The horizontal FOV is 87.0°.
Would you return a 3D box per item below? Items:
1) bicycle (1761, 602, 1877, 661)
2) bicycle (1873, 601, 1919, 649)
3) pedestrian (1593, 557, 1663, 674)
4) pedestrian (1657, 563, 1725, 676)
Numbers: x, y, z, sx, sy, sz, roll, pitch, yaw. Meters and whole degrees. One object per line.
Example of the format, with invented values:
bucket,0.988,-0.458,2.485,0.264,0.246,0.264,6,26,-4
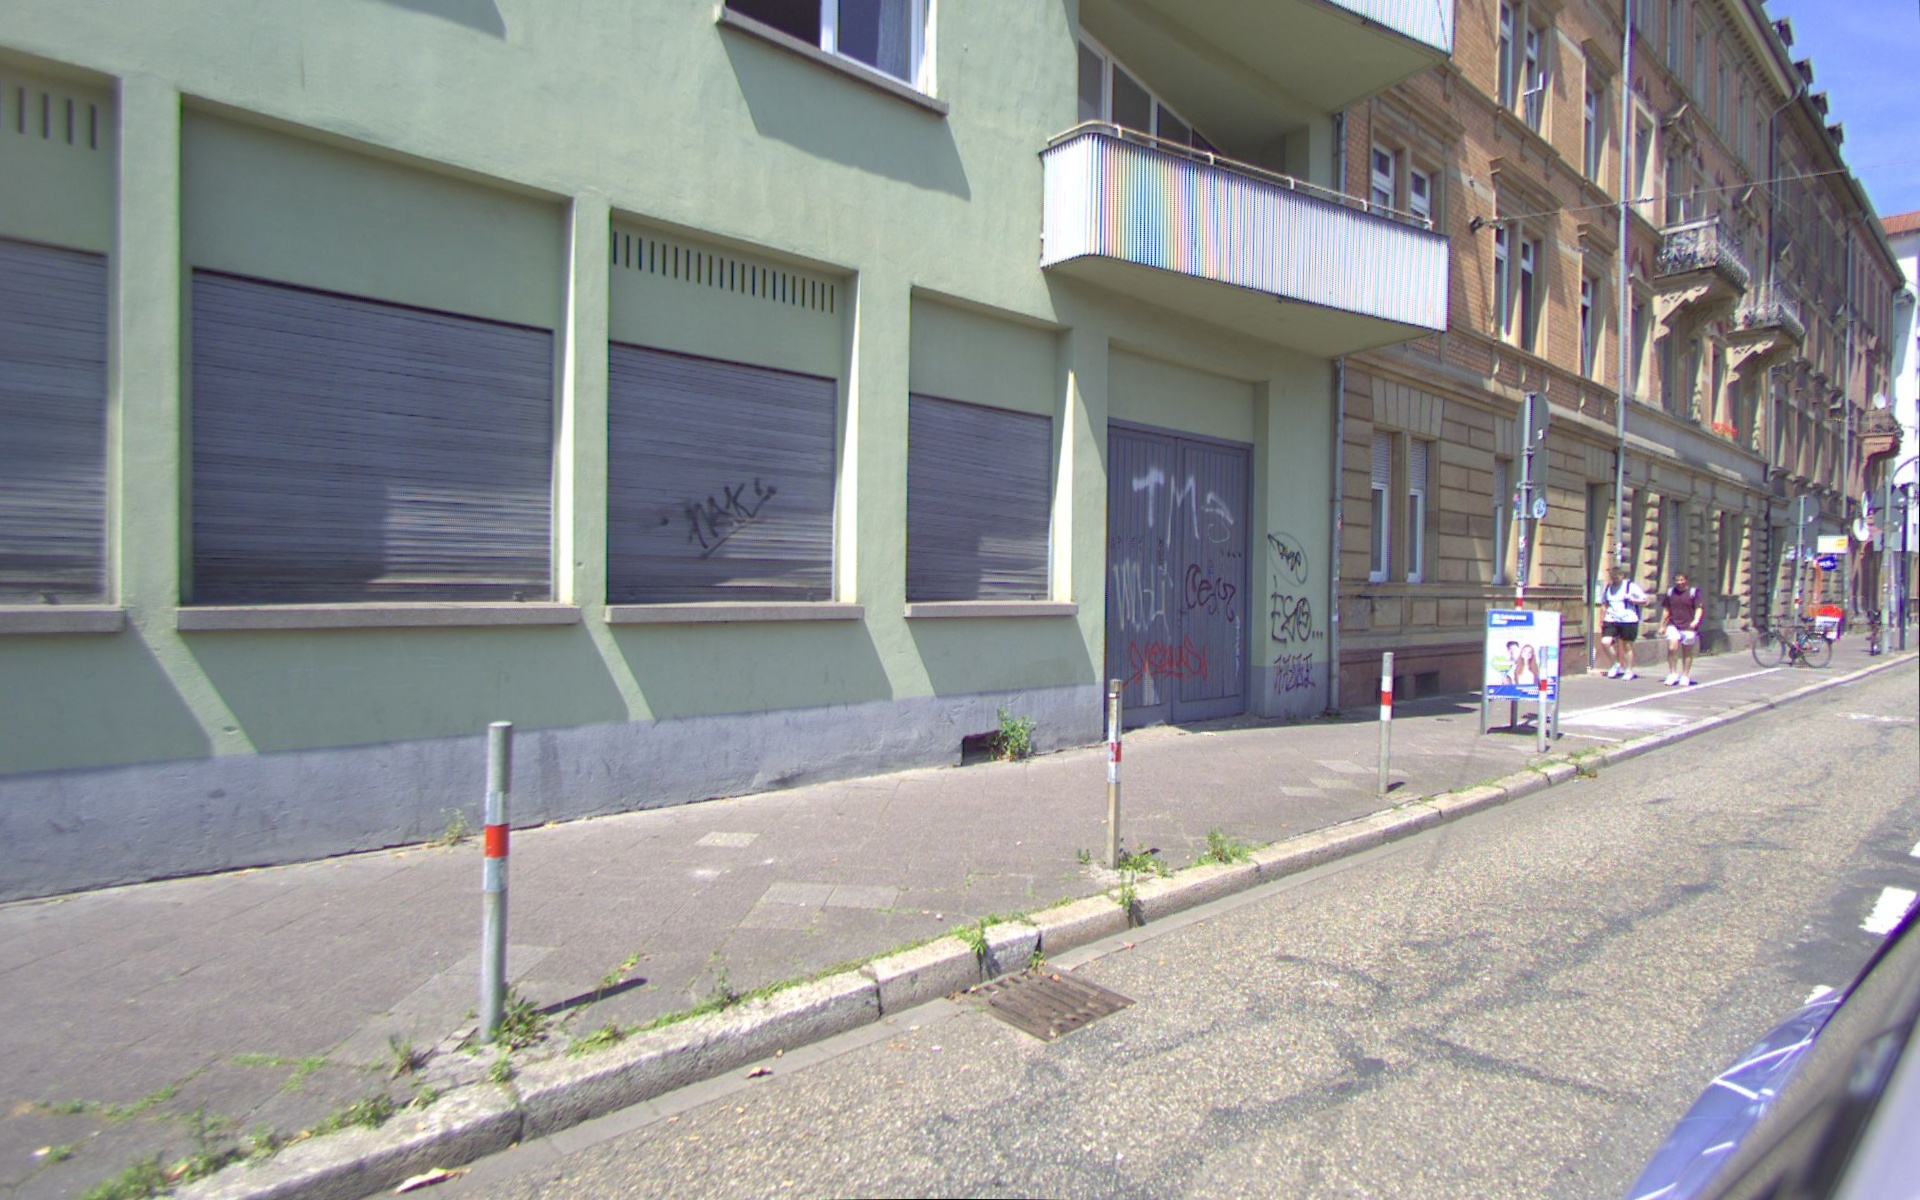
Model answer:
bicycle,17.166,0.622,20.228,2.196,1.145,0.501,1,1,-12
bicycle,23.273,0.601,25.096,2.377,1.110,0.449,0,1,-36
pedestrian,11.132,0.237,16.878,0.632,1.871,0.704,0,4,-40
pedestrian,11.593,0.295,16.054,0.632,1.741,0.722,0,1,-40
